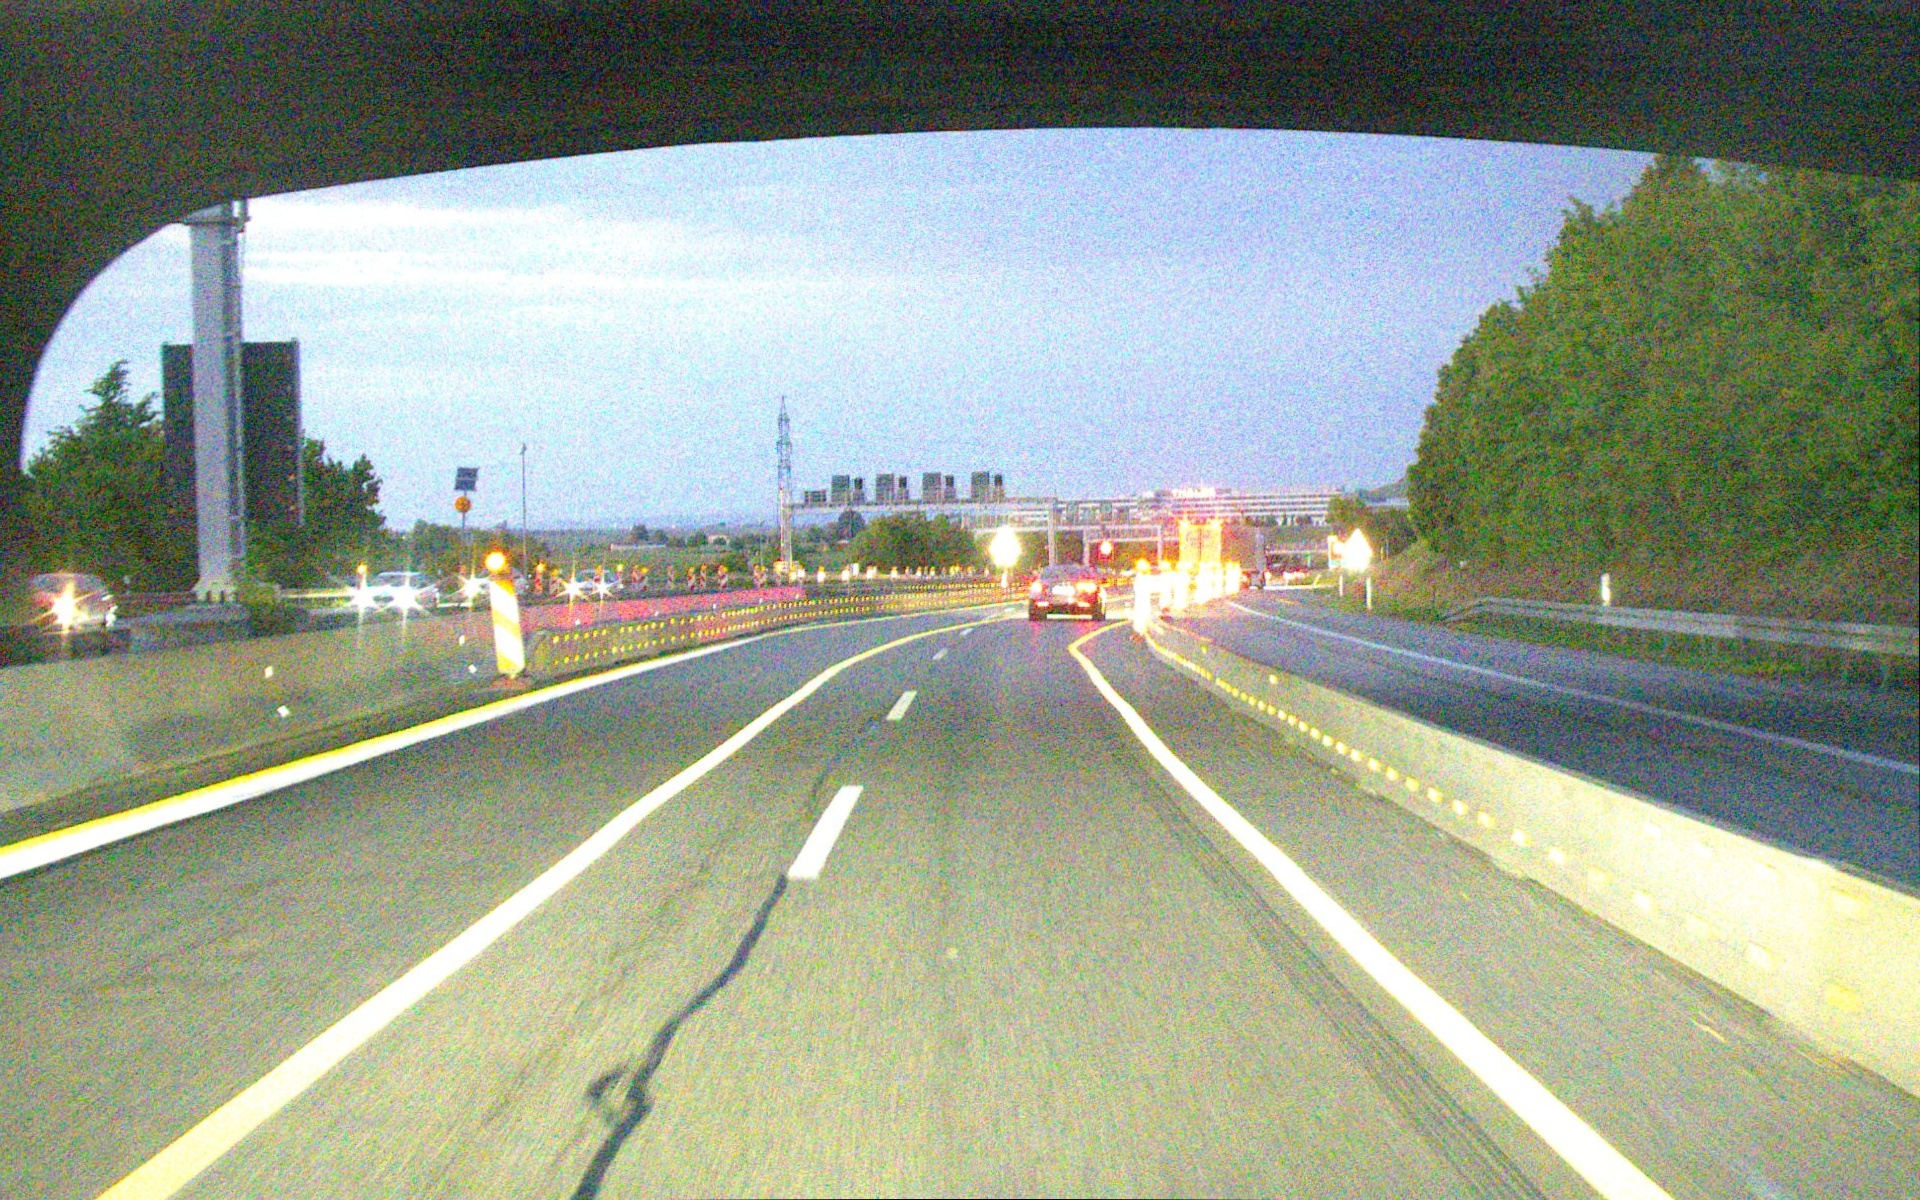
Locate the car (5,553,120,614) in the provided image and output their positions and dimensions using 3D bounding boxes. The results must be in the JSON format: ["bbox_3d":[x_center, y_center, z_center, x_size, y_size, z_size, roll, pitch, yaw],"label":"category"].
[{"bbox_3d":[-22.307,-0.415,85.587,1.703,1.450,3.930,1,0,2],"label":"car"}]

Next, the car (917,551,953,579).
[{"bbox_3d":[-1.625,-2.286,225.718,1.994,1.821,3.999,1,0,5],"label":"car"}]

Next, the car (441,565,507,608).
[{"bbox_3d":[-20.174,-0.548,142.796,1.907,1.709,3.943,1,0,4],"label":"car"}]

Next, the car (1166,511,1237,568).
[{"bbox_3d":[15.013,-3.746,214.240,3.605,3.384,8.015,1,0,-1],"label":"car"}]

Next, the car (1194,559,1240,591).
[{"bbox_3d":[11.980,-1.171,160.693,1.972,1.432,4.000,1,0,2],"label":"car"}]

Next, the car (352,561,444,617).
[{"bbox_3d":[-17.560,-0.350,107.638,1.831,1.655,4.841,1,0,3],"label":"car"}]

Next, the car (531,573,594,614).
[{"bbox_3d":[-16.705,-0.273,144.609,1.831,1.655,4.841,1,0,3],"label":"car"}]

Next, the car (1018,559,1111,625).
[{"bbox_3d":[2.674,-0.210,88.607,2.265,1.616,4.000,1,0,1],"label":"car"}]
